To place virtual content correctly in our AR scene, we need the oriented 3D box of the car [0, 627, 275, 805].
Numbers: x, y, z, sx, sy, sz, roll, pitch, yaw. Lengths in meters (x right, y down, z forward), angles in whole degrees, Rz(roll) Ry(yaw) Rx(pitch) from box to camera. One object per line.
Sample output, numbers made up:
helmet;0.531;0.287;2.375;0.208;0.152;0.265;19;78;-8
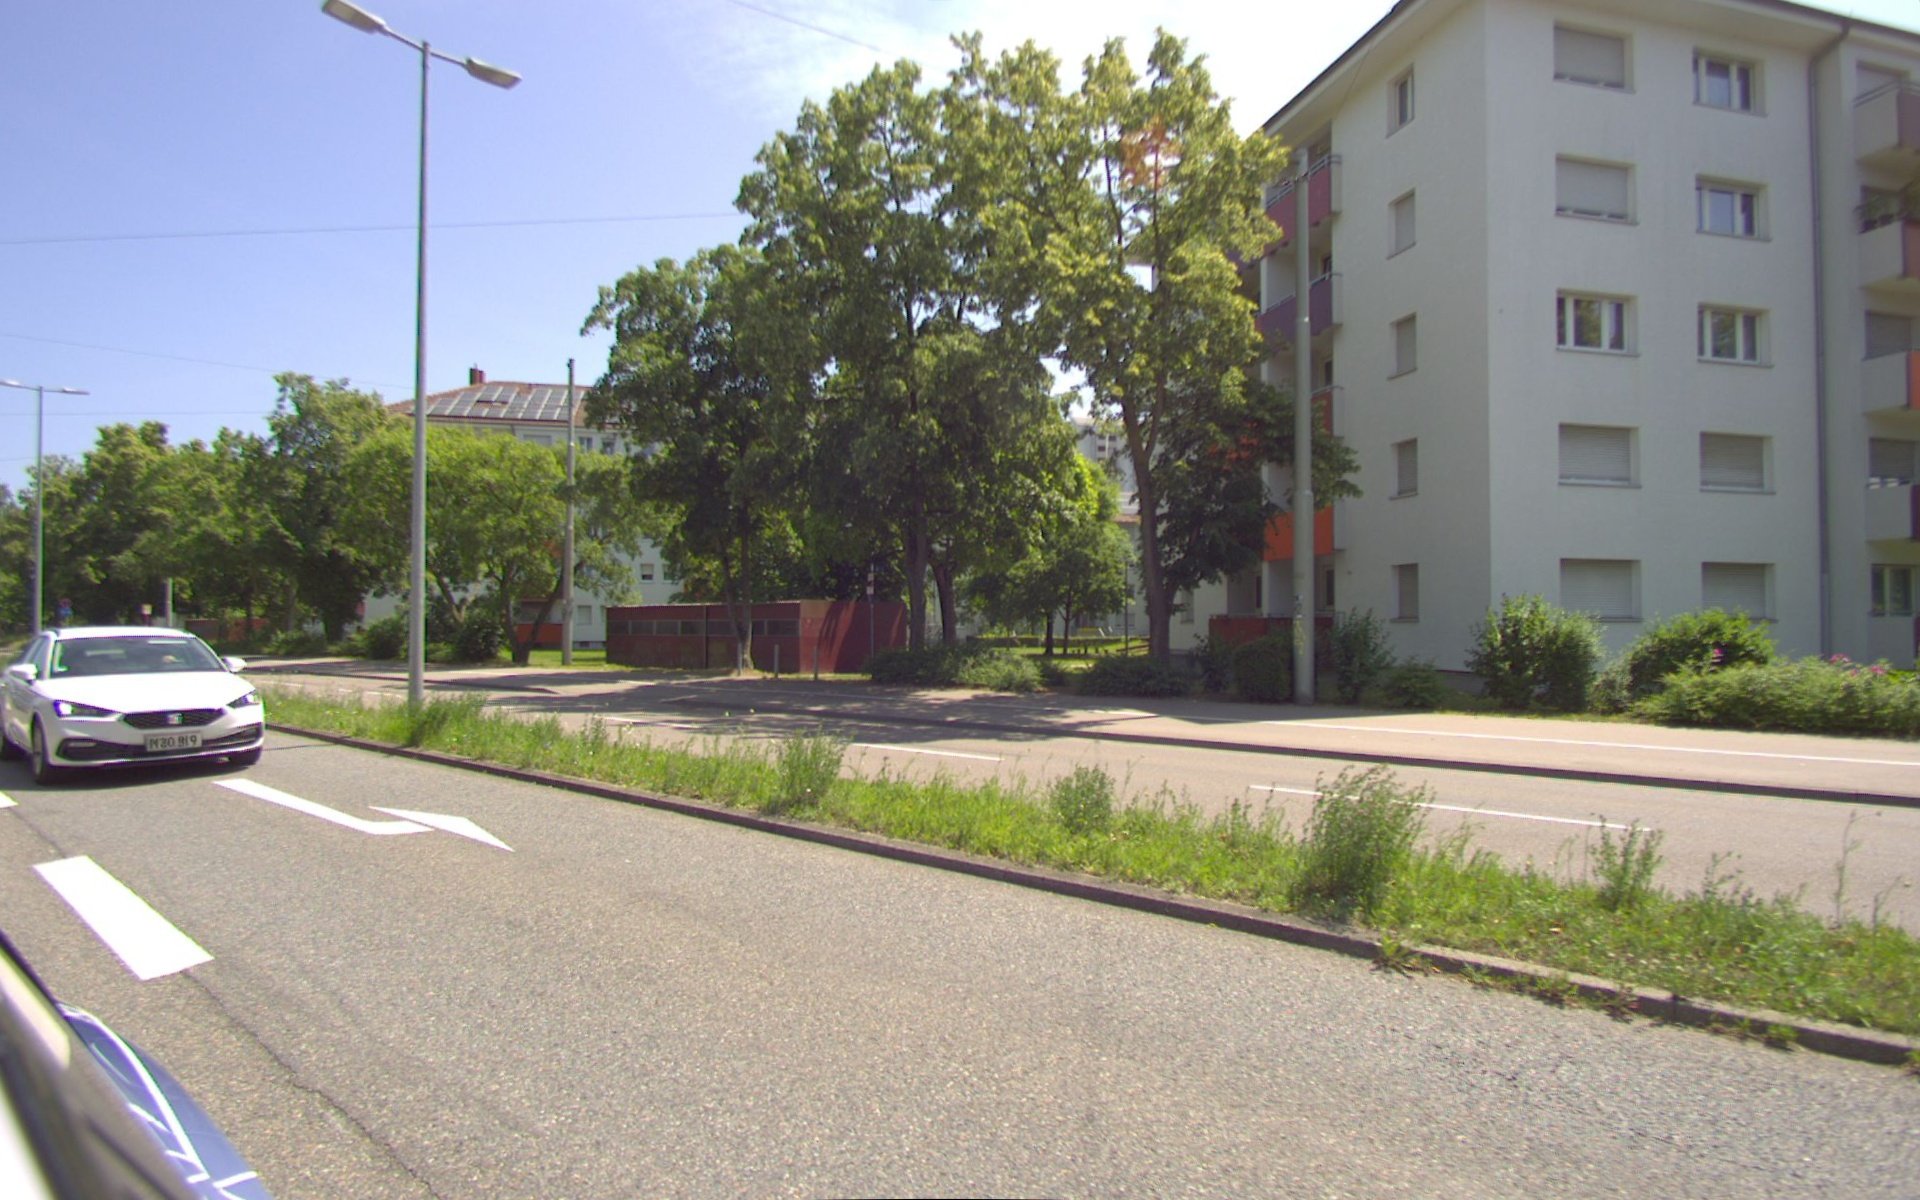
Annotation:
car;-8.922;1.063;10.704;4.108;1.479;1.750;-2;-1;40
